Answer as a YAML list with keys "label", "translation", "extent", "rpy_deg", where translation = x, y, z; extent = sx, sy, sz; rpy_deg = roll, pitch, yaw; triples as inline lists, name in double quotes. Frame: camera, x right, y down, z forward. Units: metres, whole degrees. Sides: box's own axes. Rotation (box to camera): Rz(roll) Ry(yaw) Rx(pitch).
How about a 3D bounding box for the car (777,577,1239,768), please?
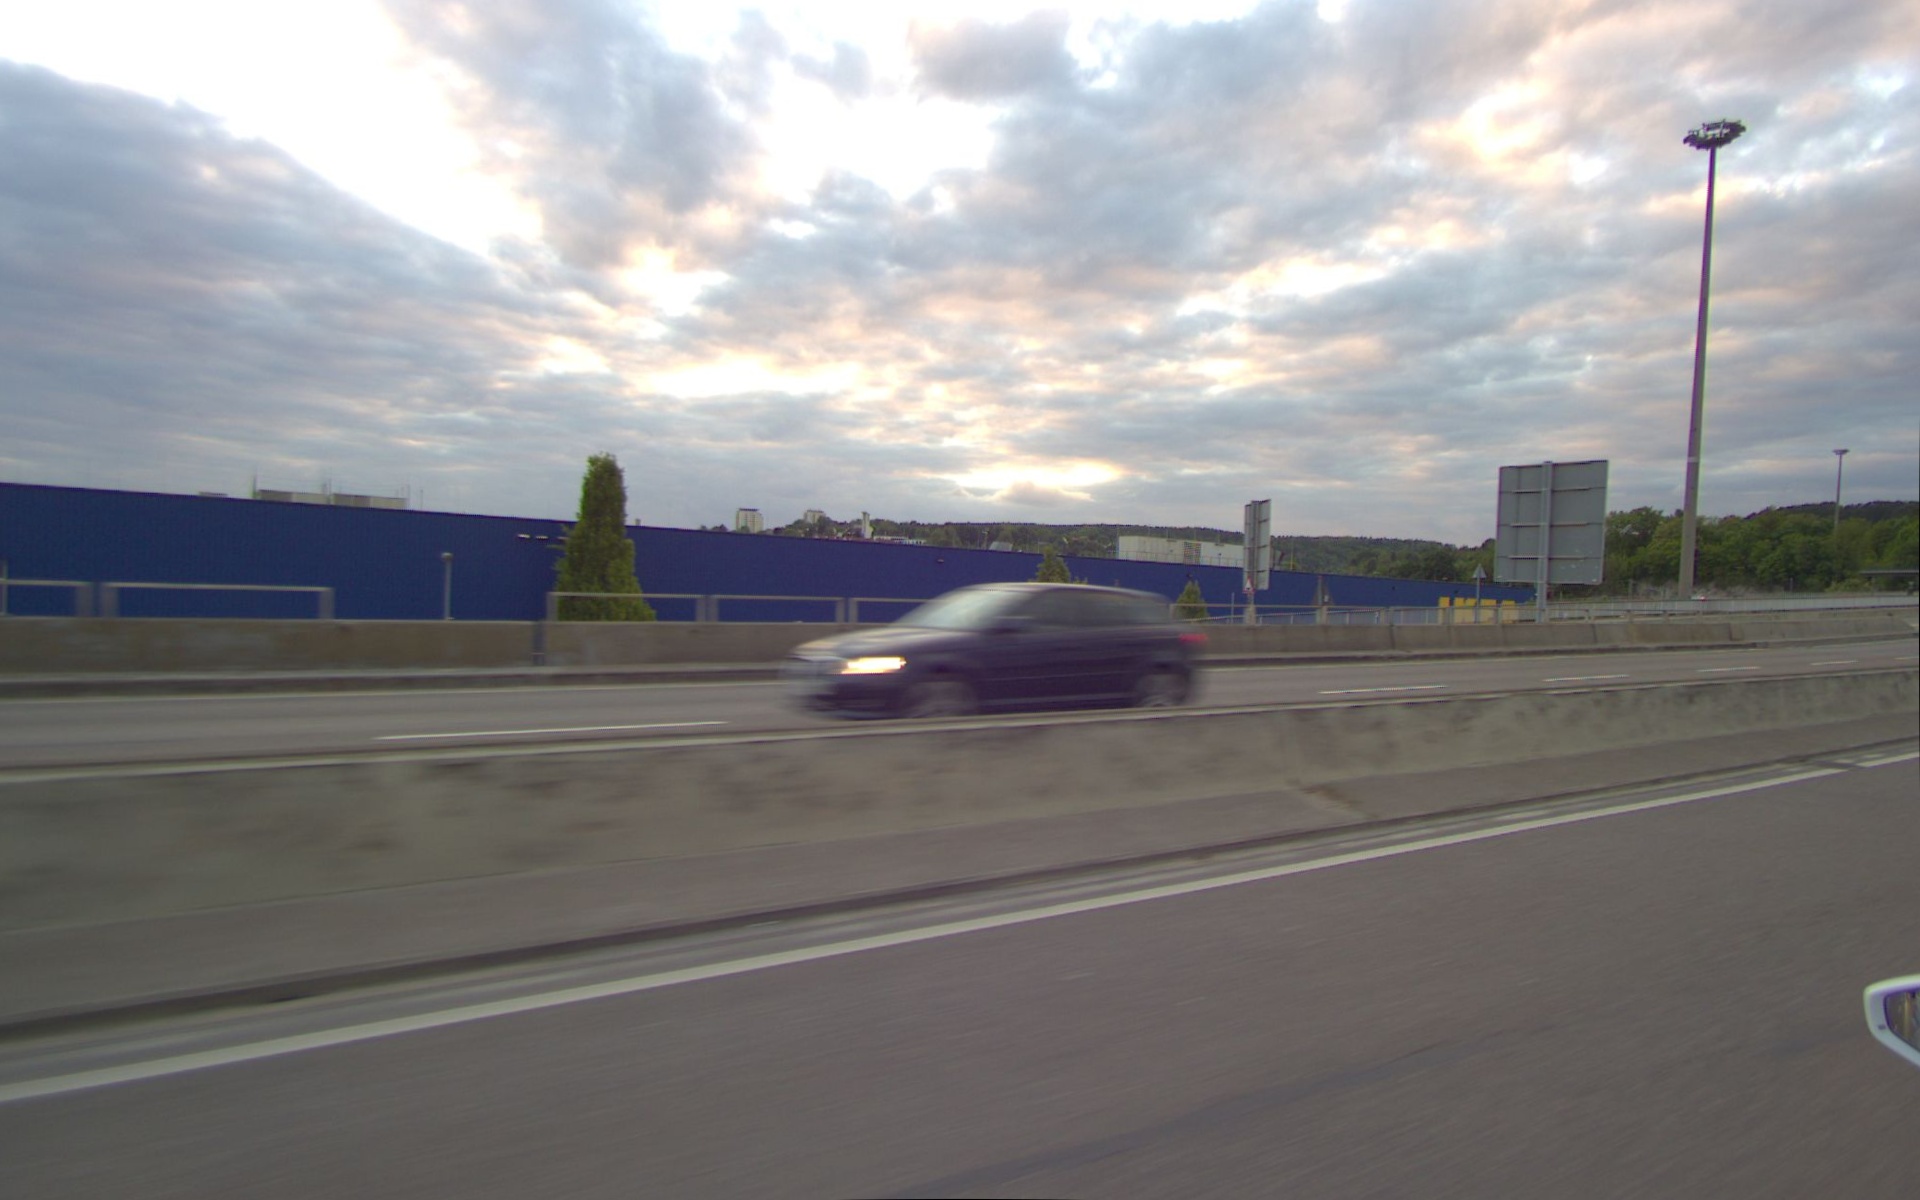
- label: "car"
  translation: [0.560, 0.615, 9.820]
  extent: [4.241, 1.500, 1.818]
  rpy_deg: [2, 0, -33]
